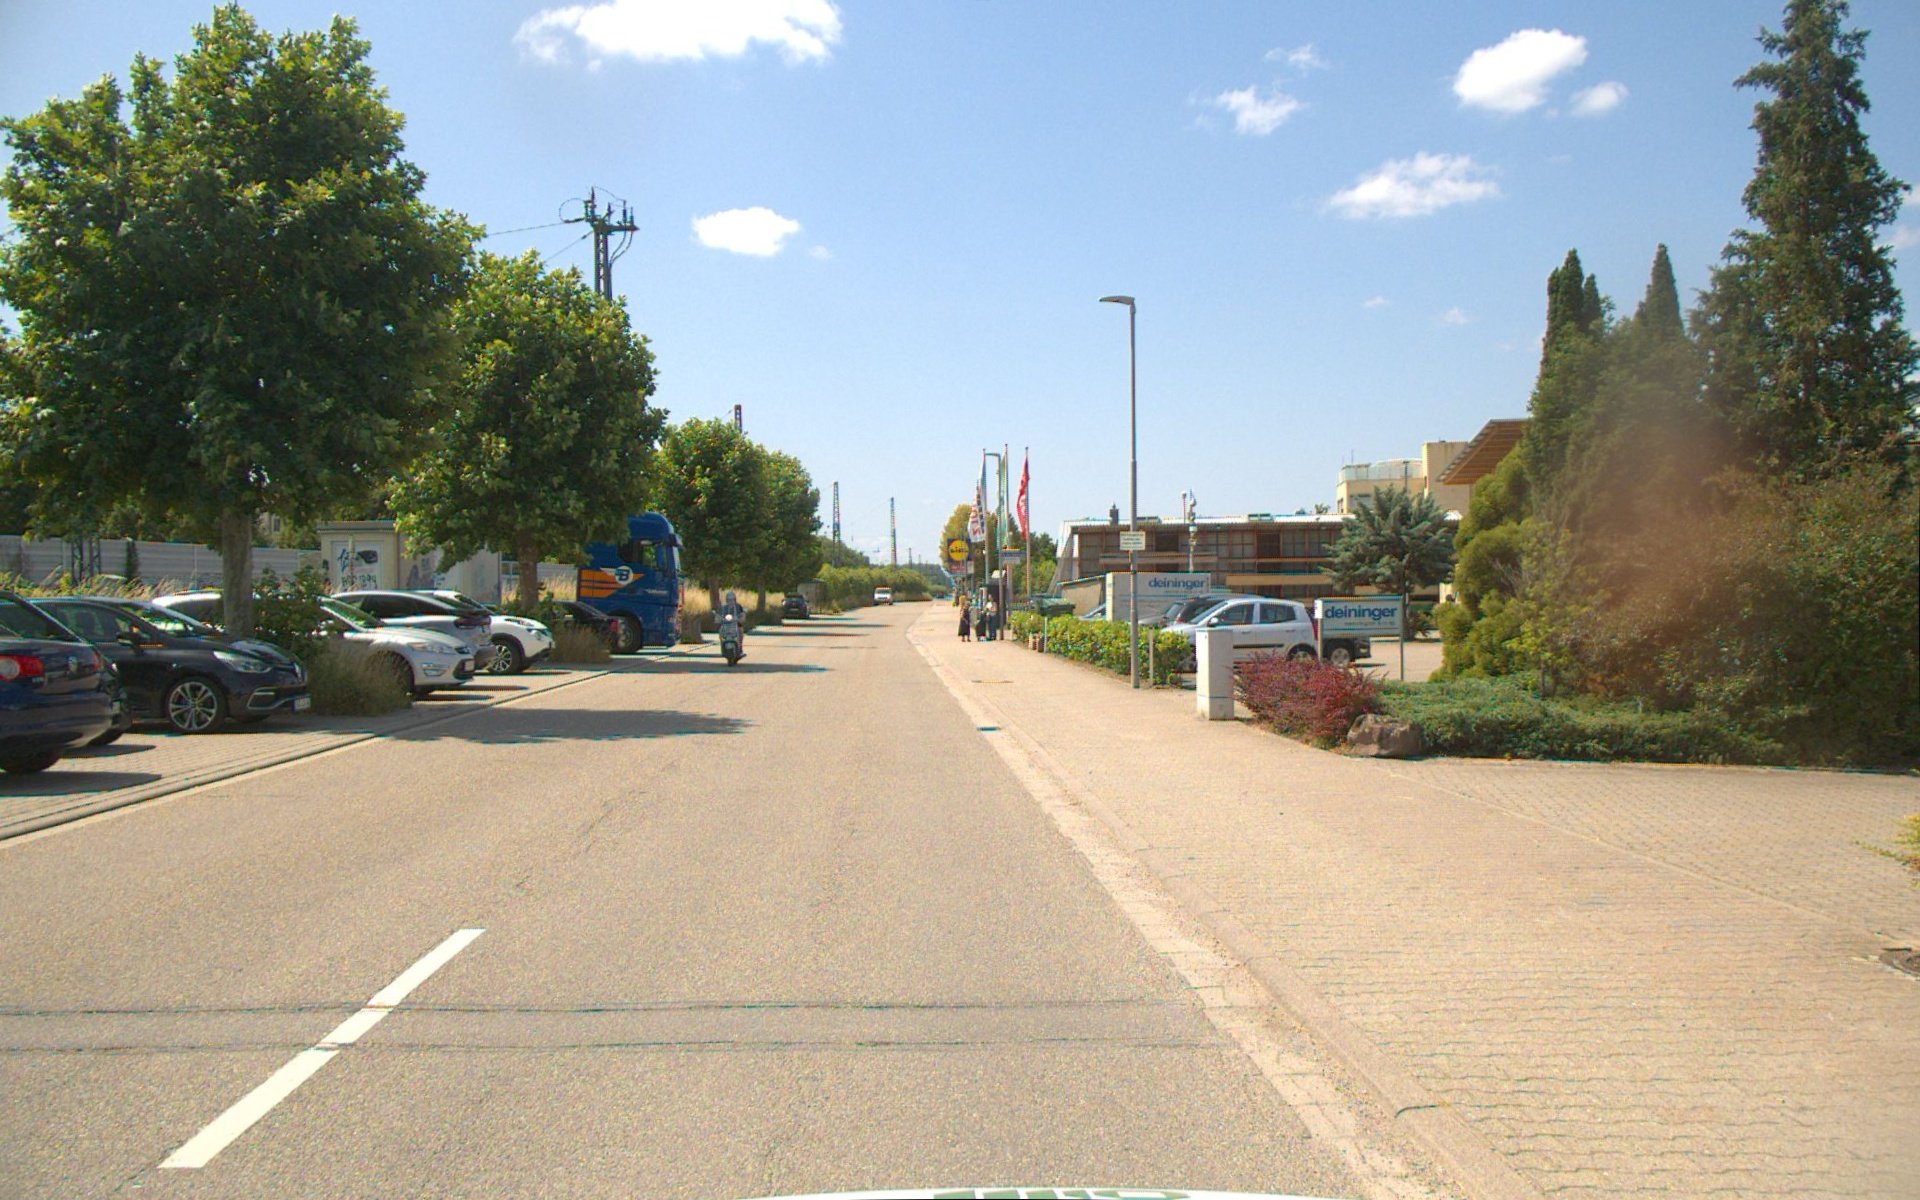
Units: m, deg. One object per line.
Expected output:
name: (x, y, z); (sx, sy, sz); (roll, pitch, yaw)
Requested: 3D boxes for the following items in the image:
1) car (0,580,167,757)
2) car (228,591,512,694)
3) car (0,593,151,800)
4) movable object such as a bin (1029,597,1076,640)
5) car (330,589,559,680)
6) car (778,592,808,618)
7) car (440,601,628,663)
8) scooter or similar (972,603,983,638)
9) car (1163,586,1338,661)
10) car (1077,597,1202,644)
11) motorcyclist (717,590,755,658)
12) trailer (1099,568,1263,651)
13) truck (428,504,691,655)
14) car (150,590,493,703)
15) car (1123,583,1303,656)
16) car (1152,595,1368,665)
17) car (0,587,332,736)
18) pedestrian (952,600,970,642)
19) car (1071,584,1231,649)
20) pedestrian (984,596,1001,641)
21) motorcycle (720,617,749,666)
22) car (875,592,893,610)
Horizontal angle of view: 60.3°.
car: (-9.369, 0.636, 15.475); (3.125, 1.565, 1.601); (-1, -1, -5)
car: (-9.432, 0.656, 26.704); (3.909, 1.575, 1.998); (0, 0, -5)
car: (-8.630, 0.716, 12.774); (3.863, 1.475, 1.787); (-1, 0, 2)
movable object such as a bin: (3.248, 0.647, 58.049); (1.255, 1.484, 1.034); (1, 0, -40)
car: (-9.852, 0.633, 31.866); (3.894, 1.646, 1.848); (-1, 0, -6)
car: (-10.409, 0.298, 103.275); (1.707, 1.624, 3.577); (0, 0, -3)
car: (-10.242, 0.754, 40.040); (4.126, 1.419, 1.870); (0, 0, -5)
scooter or similar: (0.623, 0.727, 58.206); (0.327, 1.219, 0.397); (-2, -2, -2)
car: (5.951, 0.463, 34.177); (3.284, 1.426, 1.770); (-1, 0, 0)
car: (5.719, 0.637, 52.978); (3.768, 1.481, 1.817); (0, 0, -2)
motorcyclist: (-5.113, 0.547, 37.753); (0.760, 1.535, 0.921); (0, 0, -2)
trailer: (5.673, 0.231, 42.817); (3.907, 2.049, 1.999); (-1, 0, -2)
truck: (-10.679, -0.551, 44.603); (6.484, 3.890, 2.662); (-1, 0, -5)
car: (-9.167, 0.644, 24.044); (4.251, 1.559, 1.925); (0, 0, -3)
car: (6.096, 0.483, 40.084); (3.958, 1.602, 1.711); (-2, -2, -8)
car: (6.601, 0.641, 36.628); (4.388, 1.465, 1.813); (0, 0, -6)
car: (-9.293, 0.658, 18.288); (3.991, 1.498, 1.786); (-1, 0, -3)
pedestrian: (0.046, 0.738, 58.126); (0.554, 1.430, 0.583); (-2, -2, -3)
car: (5.292, 0.478, 46.078); (4.129, 1.662, 1.799); (-2, -2, -4)
pedestrian: (1.138, 0.663, 58.070); (0.524, 1.567, 0.510); (-2, -2, -3)
motorcycle: (-5.113, 0.932, 37.618); (0.454, 1.069, 1.954); (0, 0, -2)
car: (-8.271, 0.066, 180.182); (1.801, 1.890, 4.482); (0, 0, -2)
